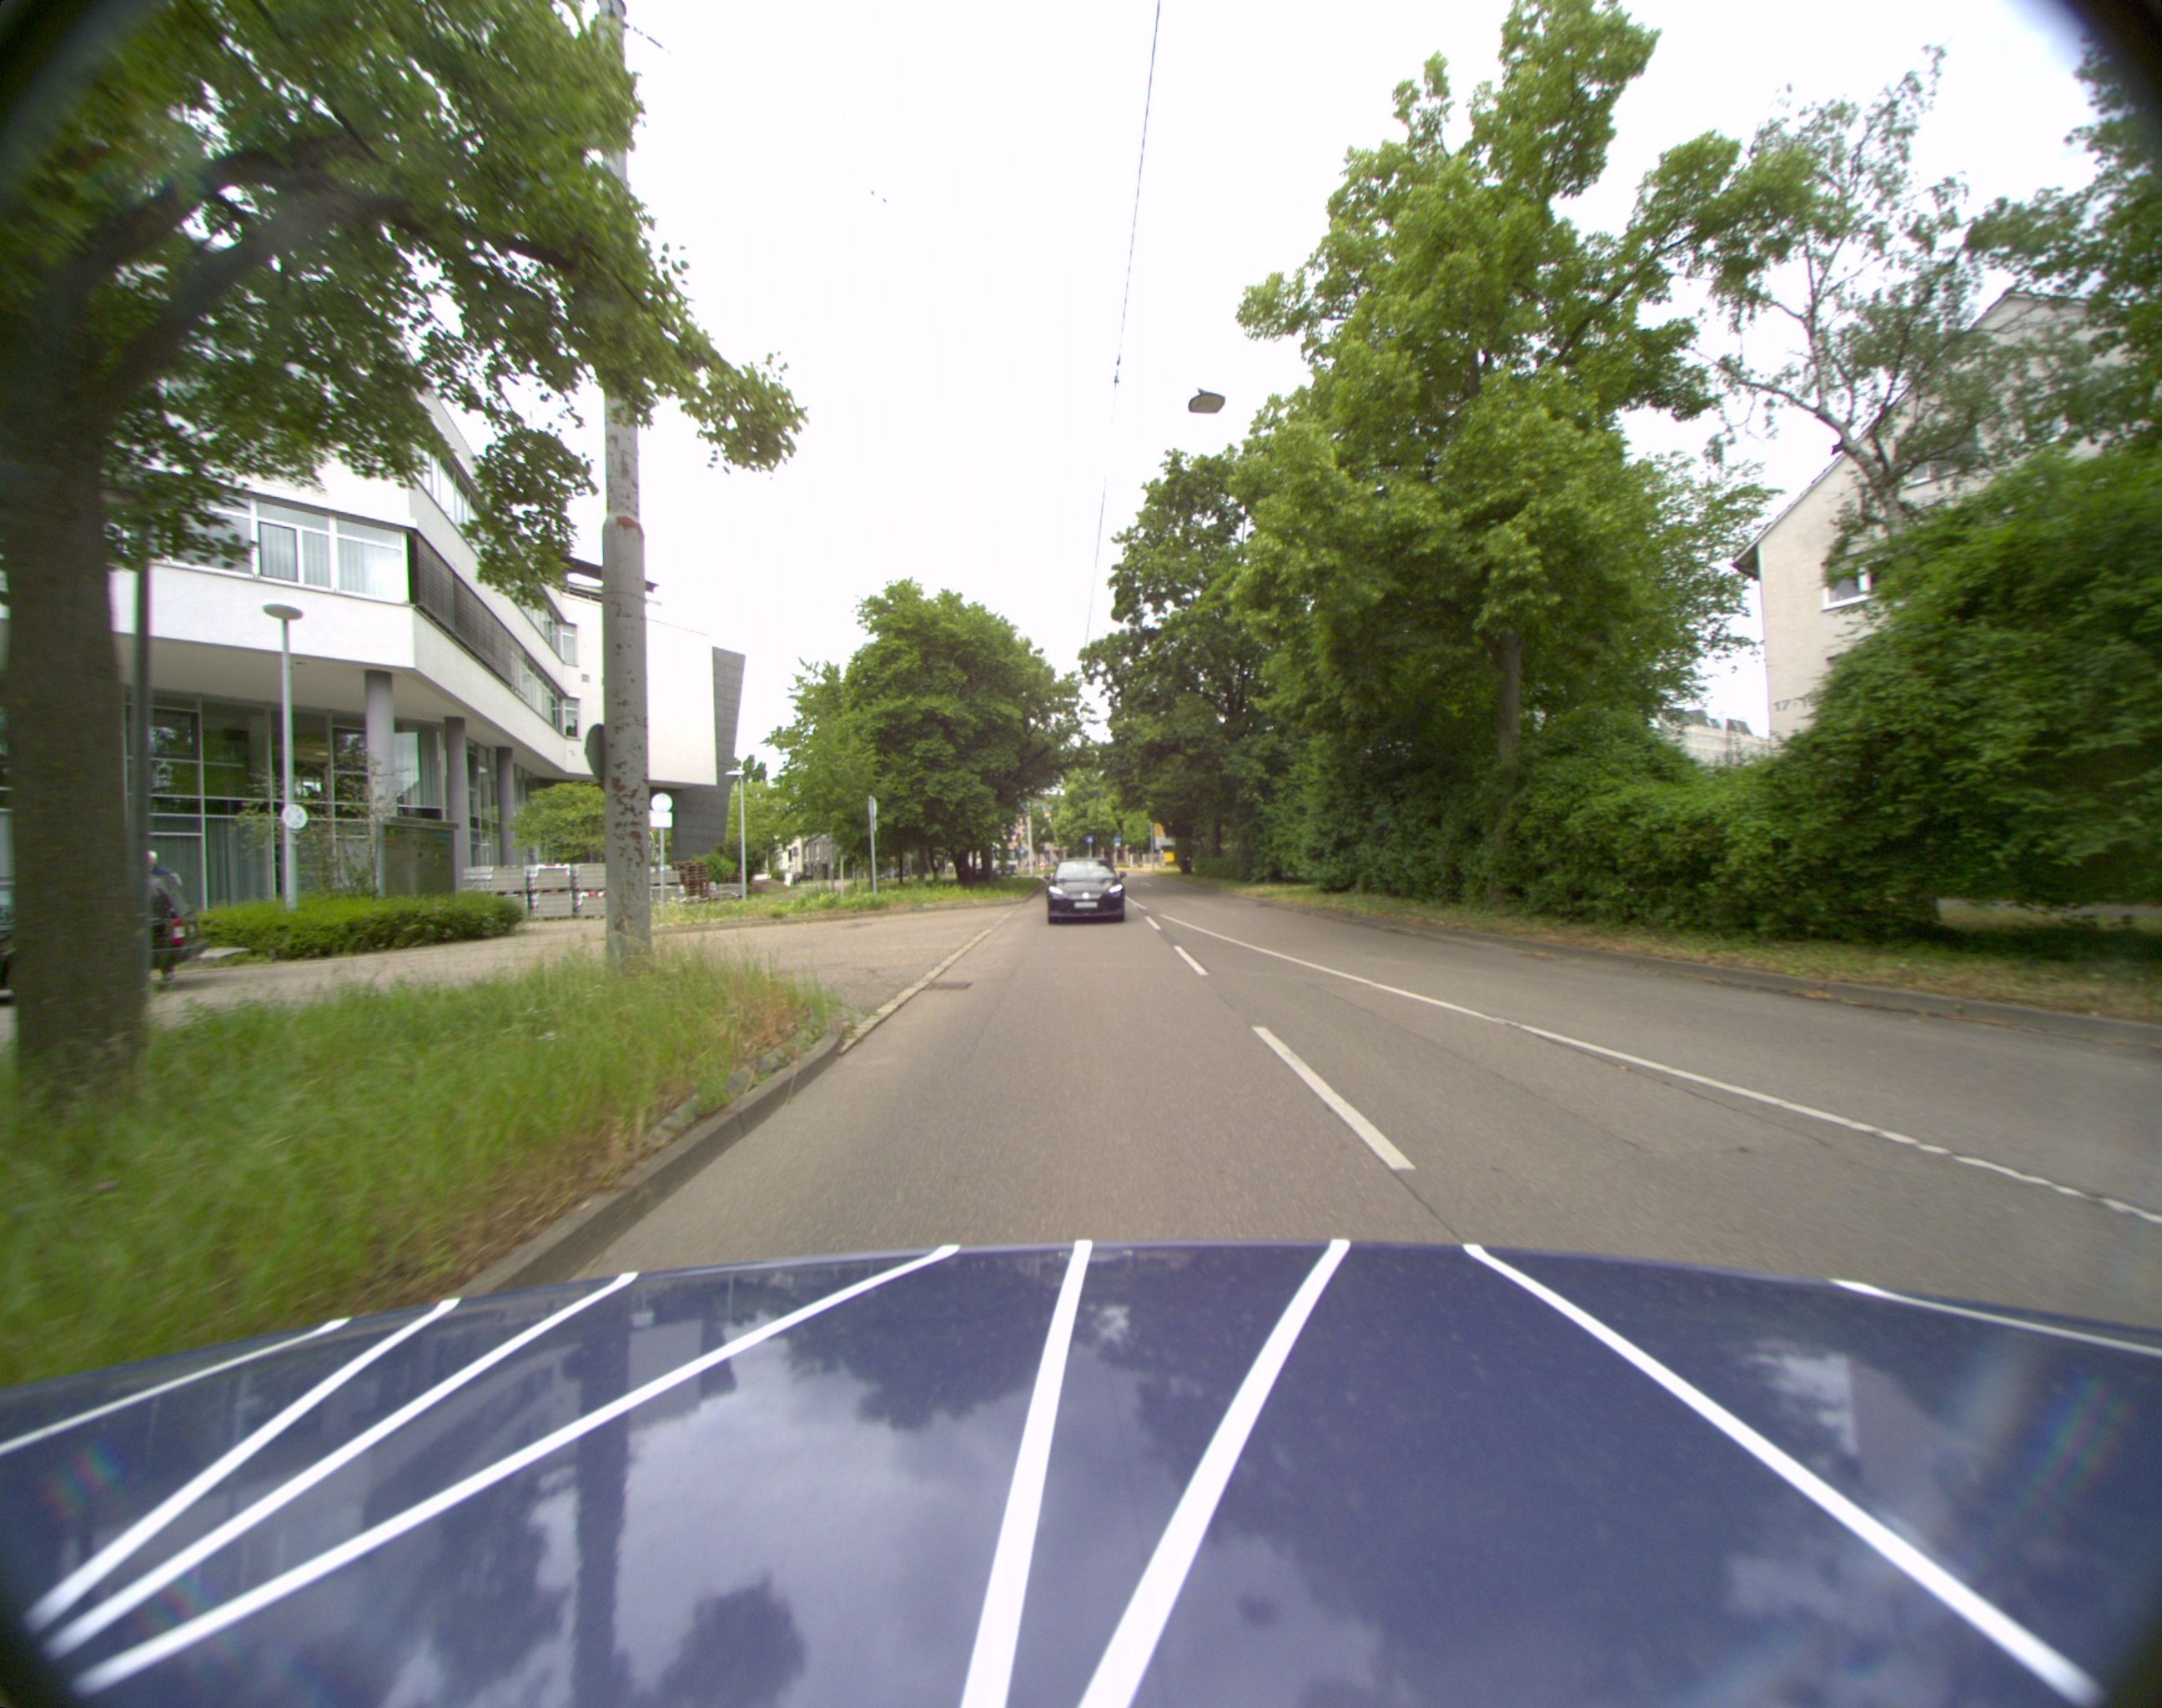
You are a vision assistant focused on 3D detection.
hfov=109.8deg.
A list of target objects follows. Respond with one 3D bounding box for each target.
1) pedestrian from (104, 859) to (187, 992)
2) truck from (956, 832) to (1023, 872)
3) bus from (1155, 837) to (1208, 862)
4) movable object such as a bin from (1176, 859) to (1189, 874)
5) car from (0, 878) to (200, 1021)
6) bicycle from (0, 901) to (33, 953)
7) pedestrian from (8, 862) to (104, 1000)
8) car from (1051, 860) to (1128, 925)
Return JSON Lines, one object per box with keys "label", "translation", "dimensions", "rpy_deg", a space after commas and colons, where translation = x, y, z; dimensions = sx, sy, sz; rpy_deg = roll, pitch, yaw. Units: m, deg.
{"label": "pedestrian", "translation": [-12.784, 0.962, 10.403], "dimensions": [0.475, 1.743, 0.583], "rpy_deg": [1, -3, -29]}
{"label": "truck", "translation": [-7.711, -0.103, 63.437], "dimensions": [2.442, 3.176, 6.449], "rpy_deg": [-3, 1, -38]}
{"label": "bus", "translation": [15.008, -0.700, 112.997], "dimensions": [8.445, 2.991, 3.046], "rpy_deg": [-4, -1, -45]}
{"label": "movable object such as a bin", "translation": [6.227, 0.781, 46.758], "dimensions": [0.599, 0.840, 0.579], "rpy_deg": [-6, 0, 21]}
{"label": "car", "translation": [-13.330, 1.110, 8.232], "dimensions": [4.752, 1.508, 1.866], "rpy_deg": [-1, 0, -44]}
{"label": "bicycle", "translation": [-23.305, 1.589, 16.530], "dimensions": [1.397, 1.066, 0.393], "rpy_deg": [-3, 1, 30]}
{"label": "pedestrian", "translation": [-13.186, 0.976, 9.795], "dimensions": [0.499, 1.714, 0.535], "rpy_deg": [1, -3, -29]}
{"label": "car", "translation": [0.221, 0.923, 19.987], "dimensions": [1.800, 1.475, 4.019], "rpy_deg": [-1, 0, 1]}
